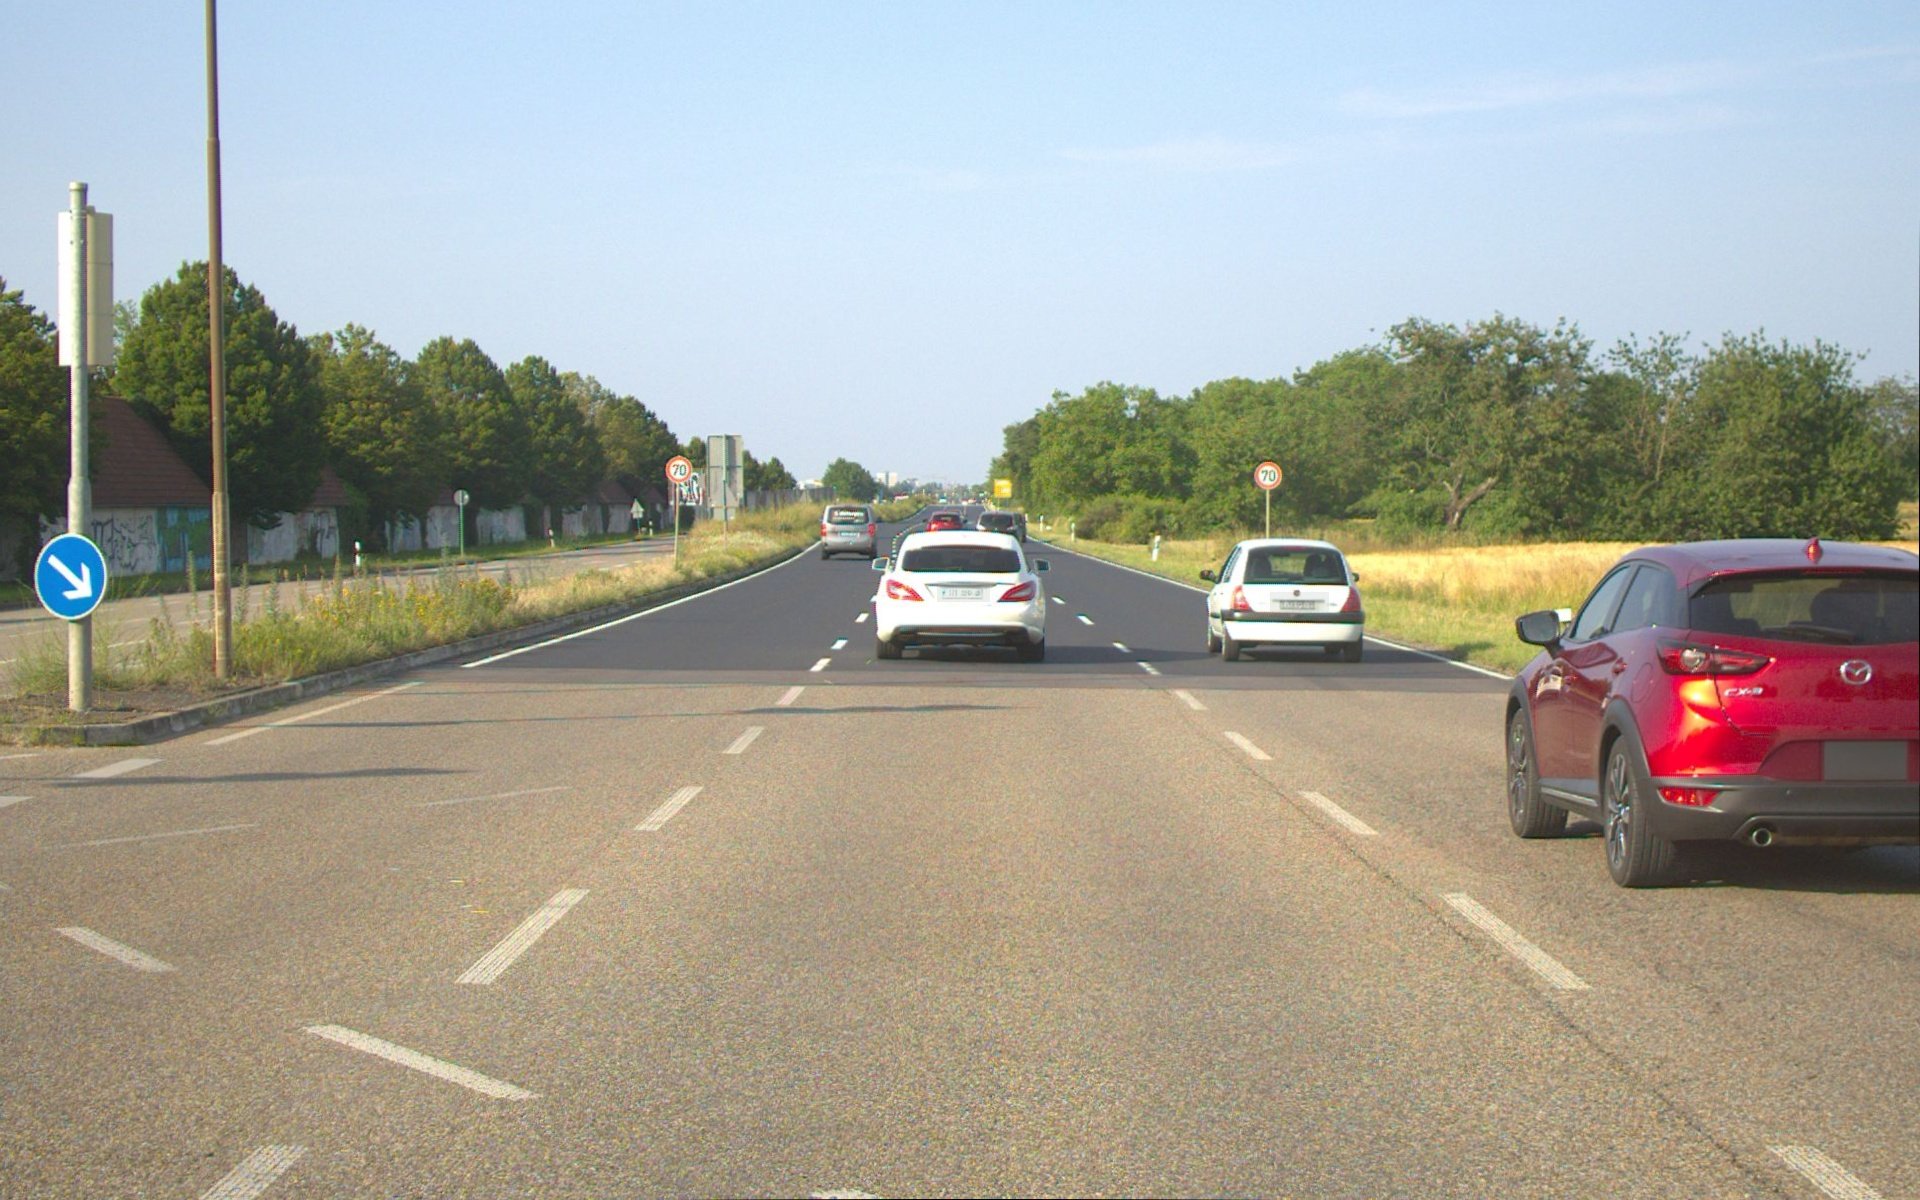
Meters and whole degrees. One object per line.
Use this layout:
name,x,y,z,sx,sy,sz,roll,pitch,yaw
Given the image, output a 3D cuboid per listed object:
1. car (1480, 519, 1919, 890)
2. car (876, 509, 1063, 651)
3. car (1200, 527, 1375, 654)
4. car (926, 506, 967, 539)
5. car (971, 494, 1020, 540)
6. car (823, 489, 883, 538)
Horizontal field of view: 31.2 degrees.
car,3.681,0.388,16.253,1.704,1.500,4.501,1,1,-1
car,0.102,-0.256,39.087,1.993,1.511,4.000,1,1,0
car,3.774,-0.145,40.129,1.617,1.382,3.952,1,1,-1
car,-0.628,-3.504,155.518,1.812,1.431,3.859,1,1,-1
car,1.379,-3.242,134.638,1.828,1.722,4.000,1,1,0
car,-3.614,-2.918,116.815,1.758,1.612,4.000,1,1,2
